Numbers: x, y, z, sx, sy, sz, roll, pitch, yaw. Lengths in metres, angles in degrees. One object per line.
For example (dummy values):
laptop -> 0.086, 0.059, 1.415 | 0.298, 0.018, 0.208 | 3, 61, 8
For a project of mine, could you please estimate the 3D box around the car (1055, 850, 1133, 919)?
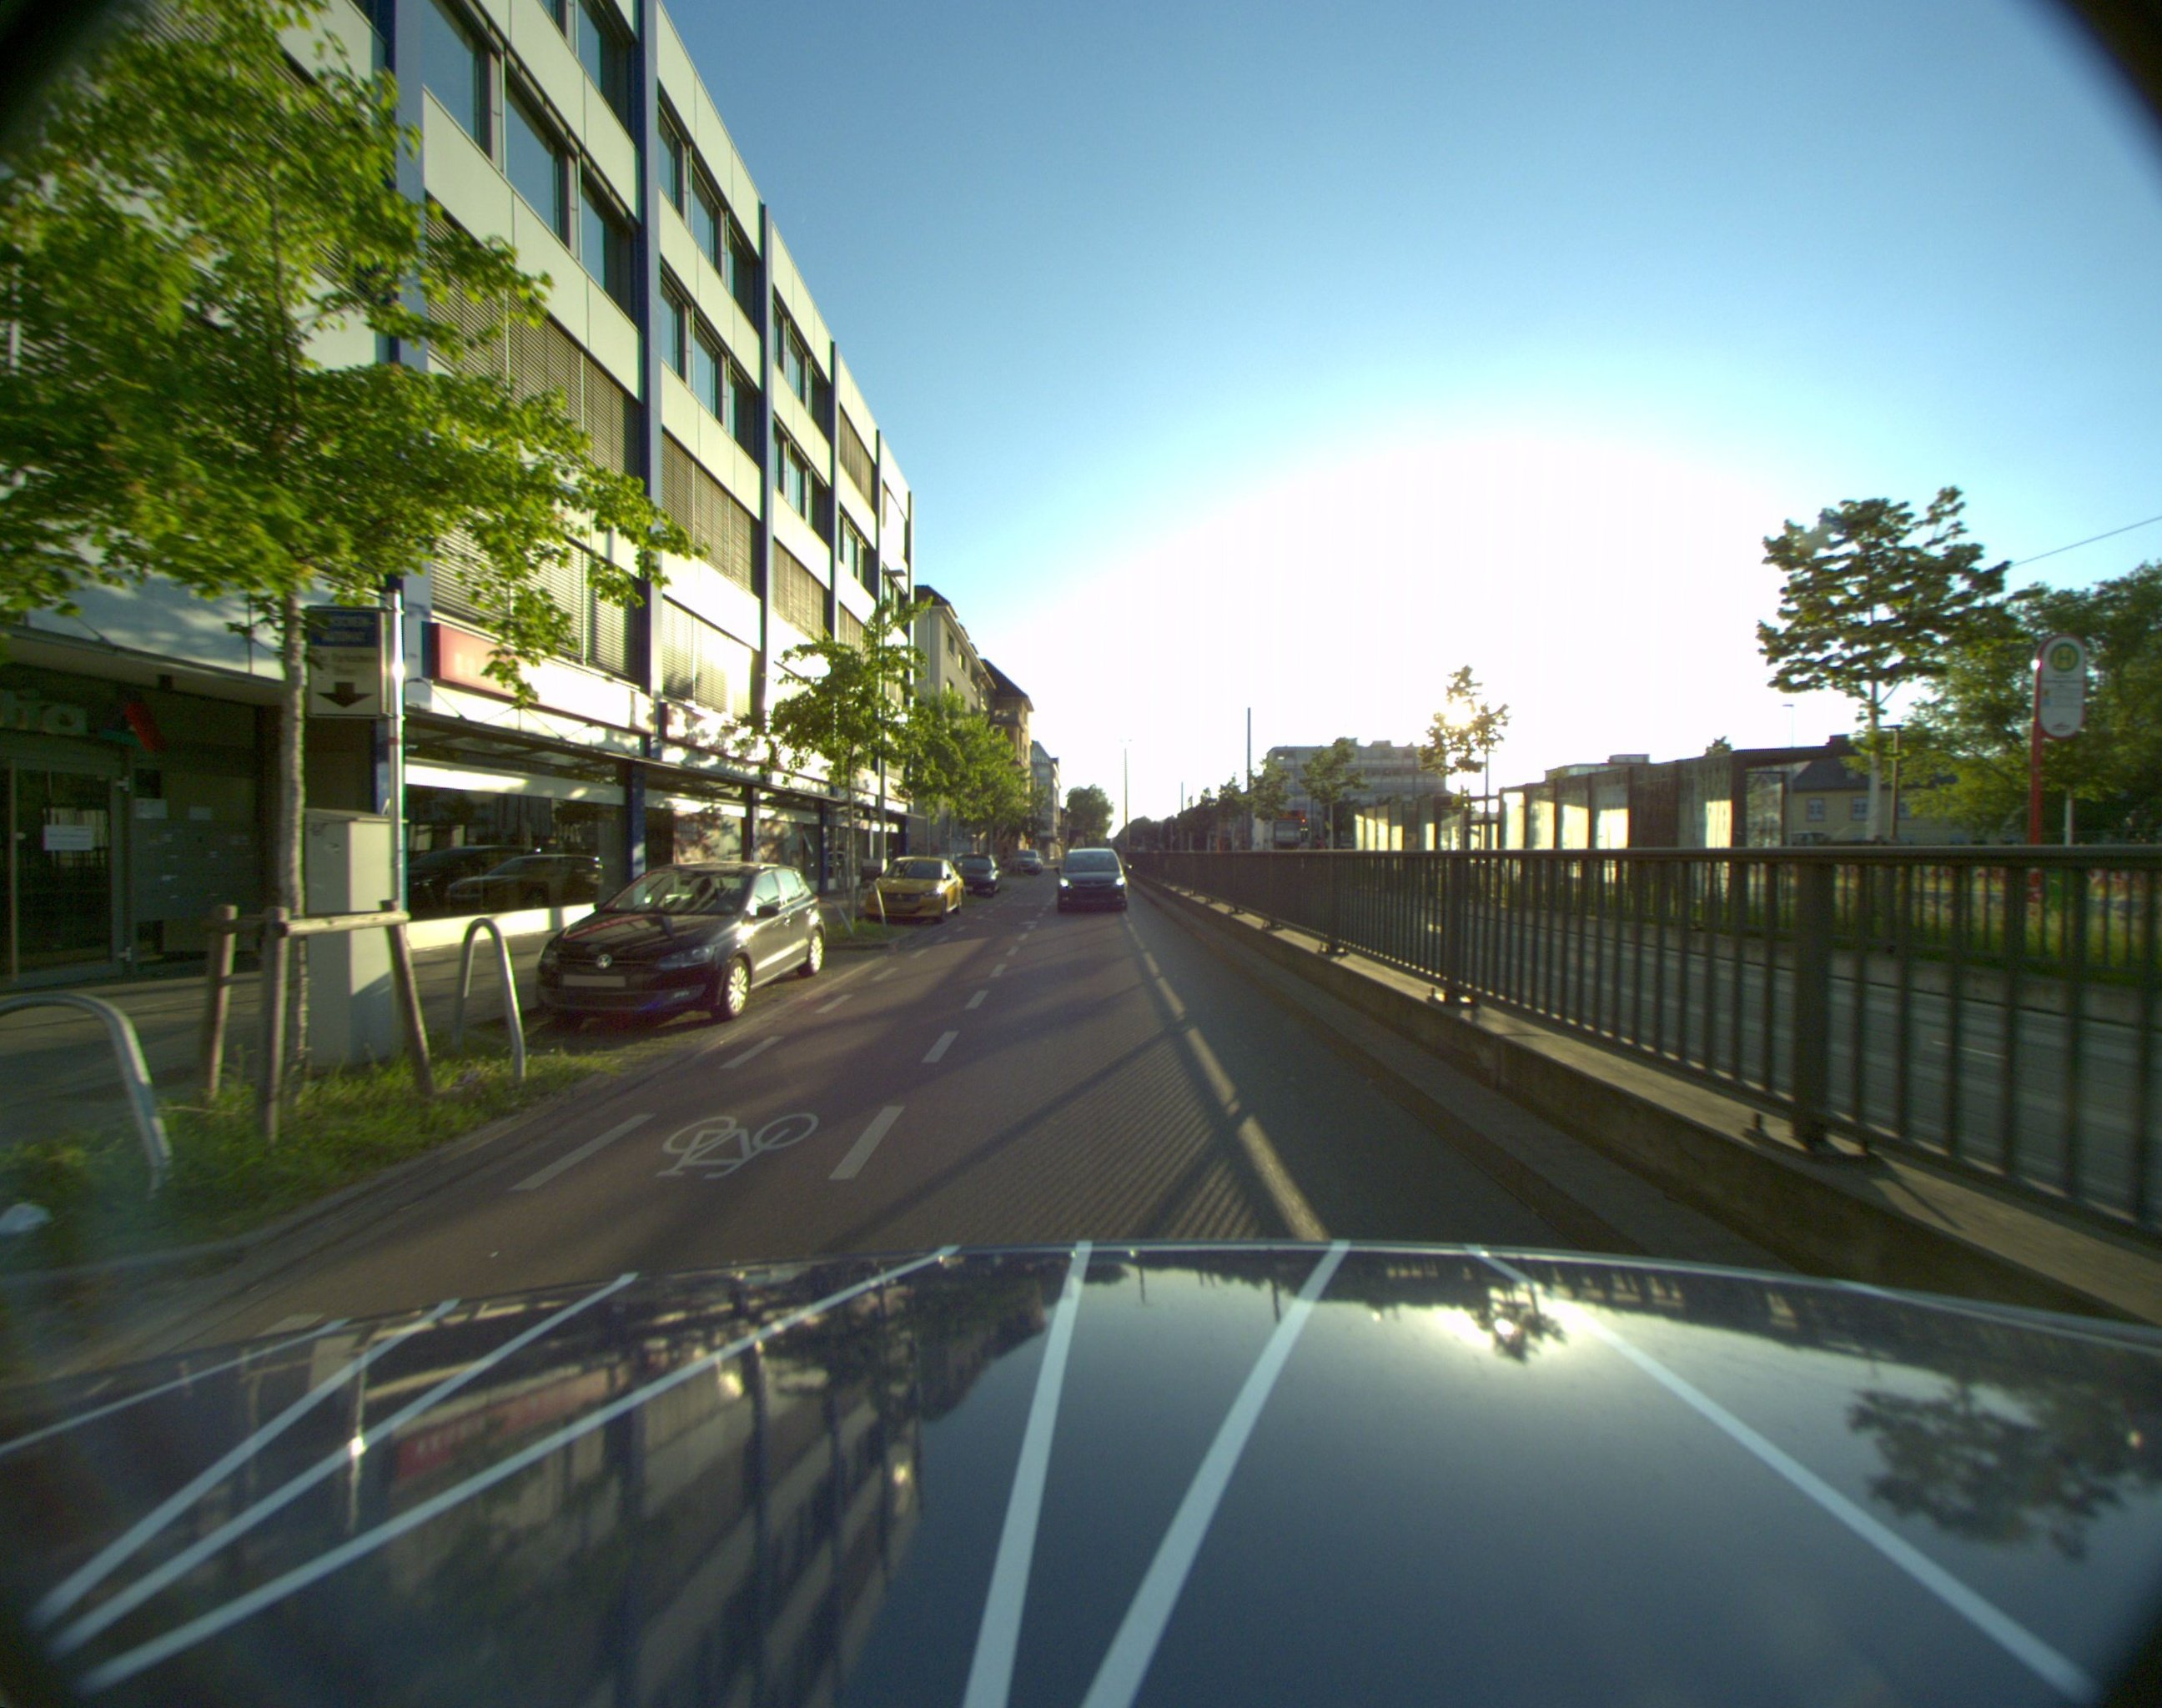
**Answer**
car -> 0.297, 0.709, 19.901 | 1.800, 1.609, 4.386 | 0, 0, 0

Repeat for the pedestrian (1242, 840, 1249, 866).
pedestrian -> 11.374, -0.076, 52.548 | 0.472, 1.776, 0.626 | 0, 1, 8

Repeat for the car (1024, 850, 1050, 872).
car -> -3.249, 0.520, 56.747 | 1.674, 1.509, 3.600 | 3, 0, -1

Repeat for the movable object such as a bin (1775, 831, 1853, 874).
movable object such as a bin -> 48.708, -0.108, 50.618 | 1.996, 2.690, 4.004 | 0, 1, 14

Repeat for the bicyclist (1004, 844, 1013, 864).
bicyclist -> -5.493, -0.021, 57.833 | 0.559, 1.467, 0.622 | 3, 1, -1

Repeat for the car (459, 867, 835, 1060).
car -> -4.167, 0.930, 8.208 | 1.824, 1.446, 4.127 | 1, 1, -2

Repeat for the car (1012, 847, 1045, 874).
car -> -3.457, 0.410, 50.915 | 1.761, 1.644, 4.528 | 2, 0, 1

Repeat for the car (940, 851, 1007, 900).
car -> -3.863, 0.720, 28.042 | 1.824, 1.557, 4.809 | 3, 0, -1

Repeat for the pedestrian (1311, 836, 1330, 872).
pedestrian -> 11.645, 0.009, 36.959 | 0.636, 1.719, 0.635 | 0, 1, -12

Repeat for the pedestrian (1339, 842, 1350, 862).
pedestrian -> 23.263, -0.162, 66.988 | 0.696, 1.788, 0.817 | 0, 1, 1

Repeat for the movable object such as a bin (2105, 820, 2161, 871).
movable object such as a bin -> 48.744, -0.375, 32.980 | 1.998, 2.233, 4.940 | 0, 1, 3

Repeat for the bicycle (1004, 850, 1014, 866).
bicycle -> -5.500, 0.312, 57.883 | 0.555, 1.123, 1.973 | 3, 1, -1

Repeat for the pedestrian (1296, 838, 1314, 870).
pedestrian -> 12.247, 0.002, 41.495 | 0.727, 1.734, 0.636 | -1, 0, -7

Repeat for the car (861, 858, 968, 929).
car -> -3.871, 0.857, 18.338 | 1.688, 1.446, 4.129 | 1, 1, 0

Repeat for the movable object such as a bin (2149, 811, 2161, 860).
movable object such as a bin -> 61.059, -1.030, 40.753 | 1.998, 2.690, 4.000 | 0, 1, 3
